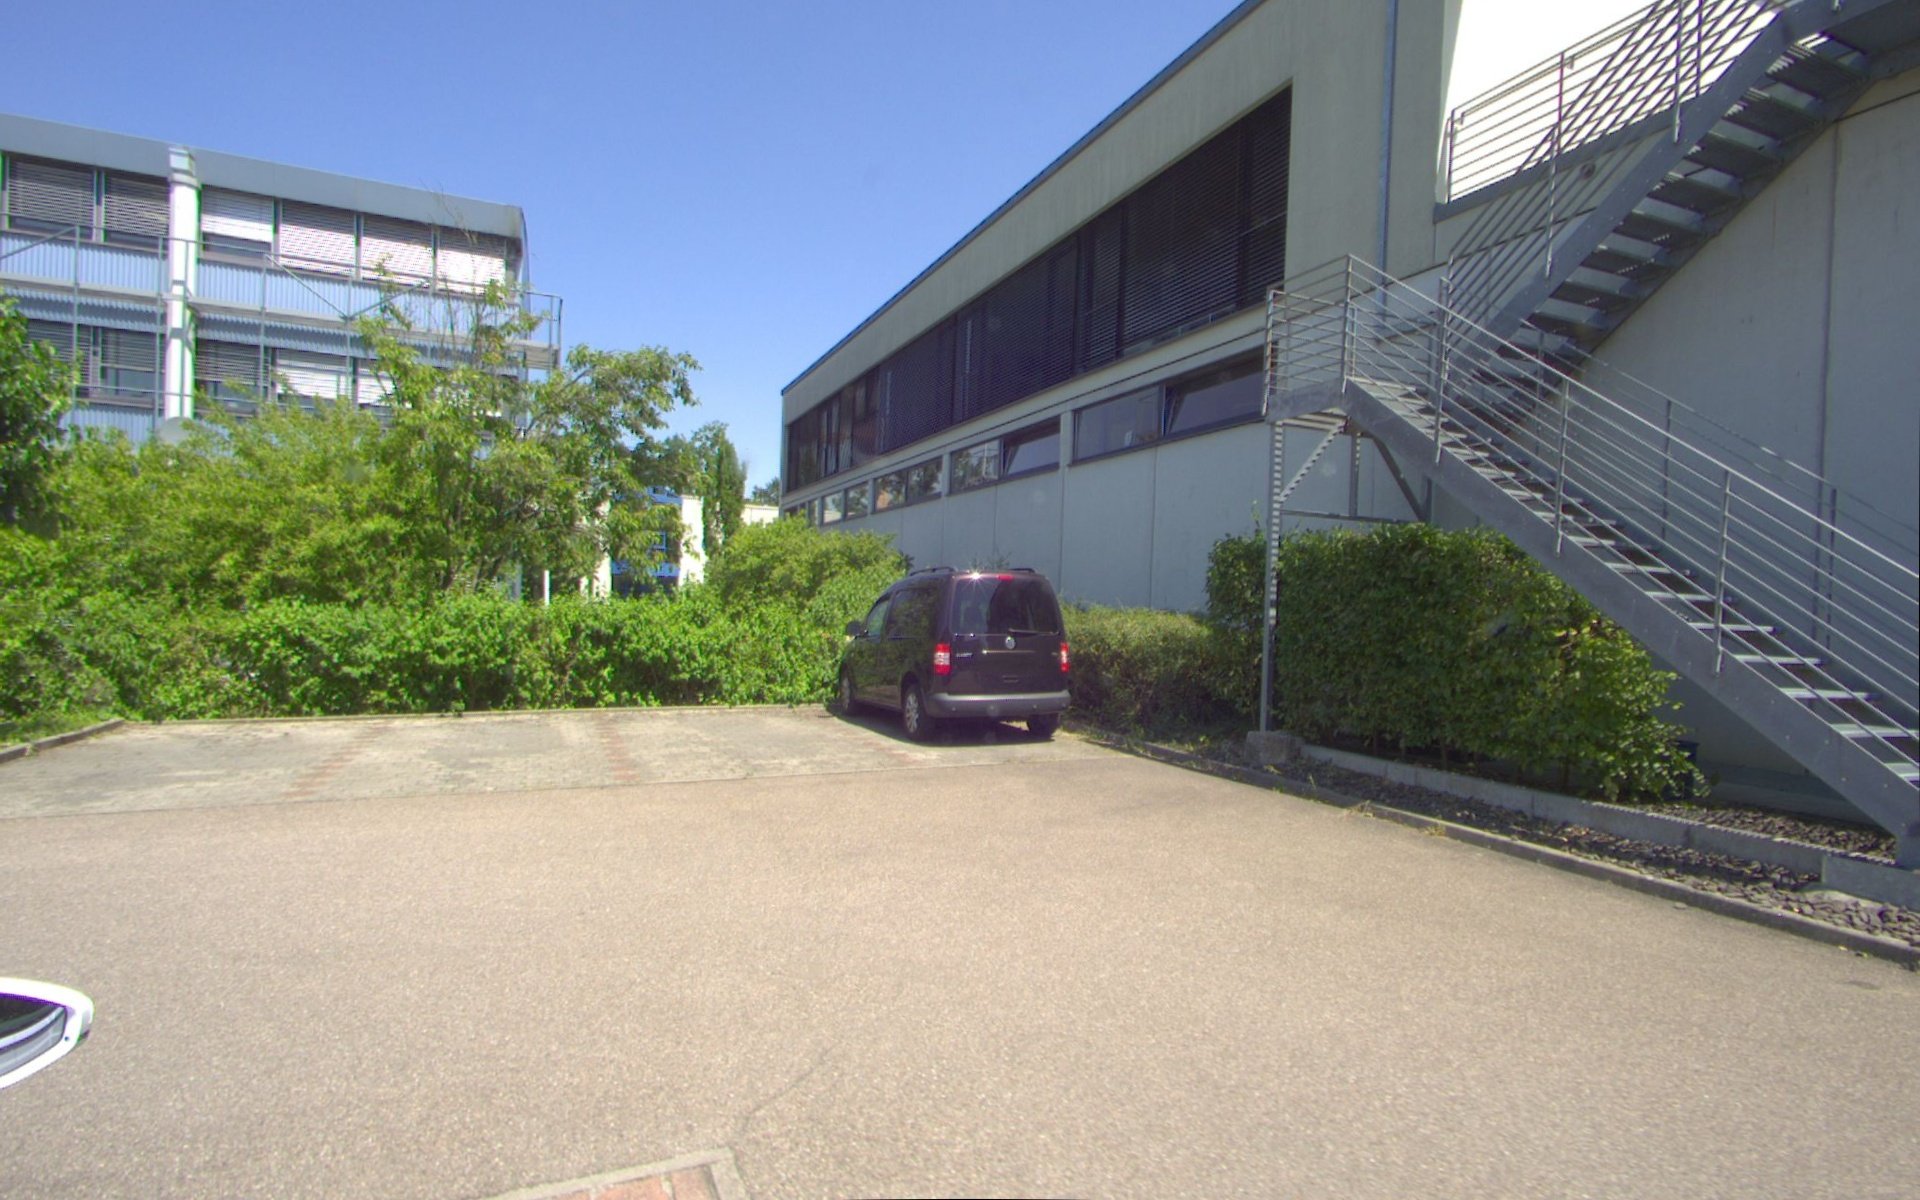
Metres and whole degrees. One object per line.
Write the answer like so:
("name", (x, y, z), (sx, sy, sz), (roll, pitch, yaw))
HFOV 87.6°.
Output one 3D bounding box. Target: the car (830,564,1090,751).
("car", (-0.195, 0.571, 12.166), (1.721, 1.861, 3.985), (1, 0, -23))
